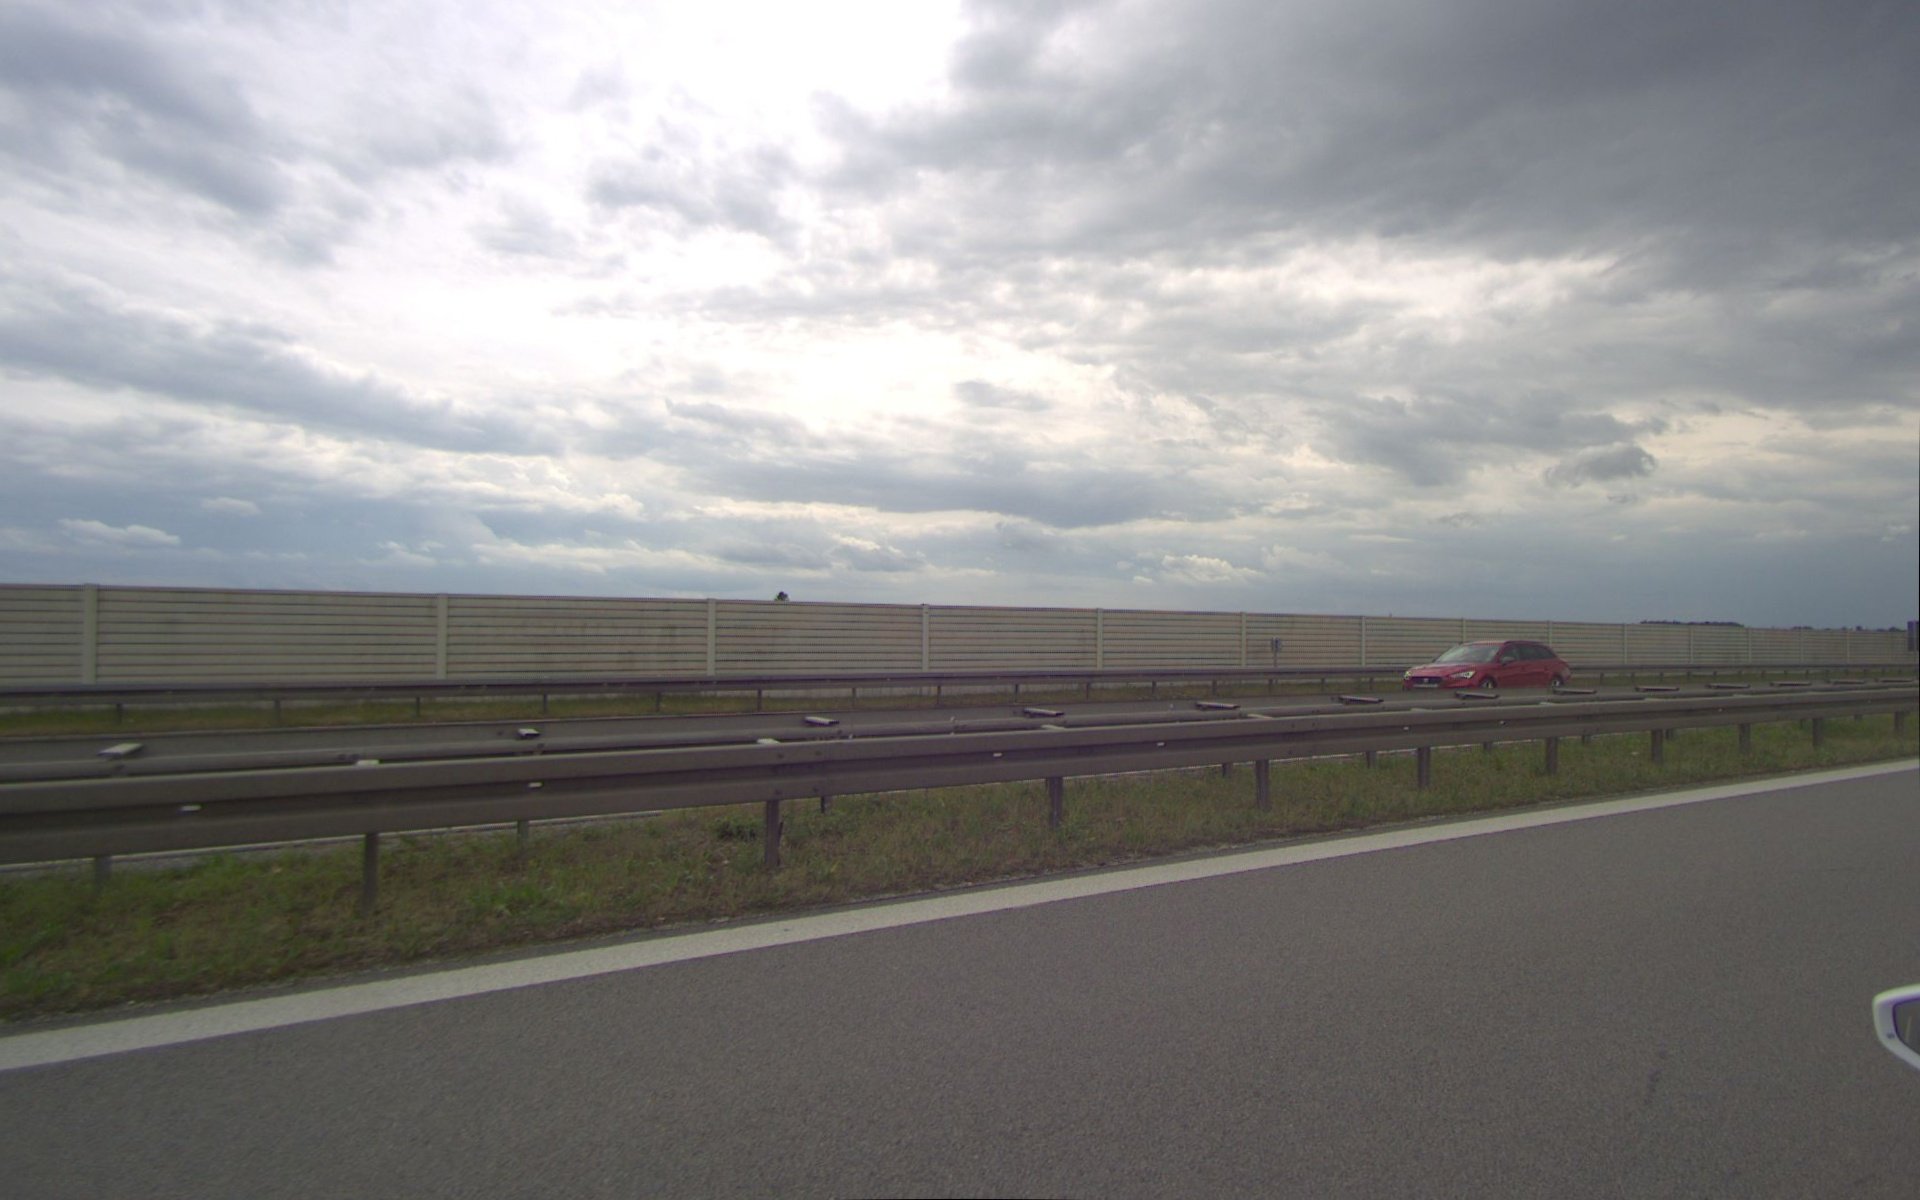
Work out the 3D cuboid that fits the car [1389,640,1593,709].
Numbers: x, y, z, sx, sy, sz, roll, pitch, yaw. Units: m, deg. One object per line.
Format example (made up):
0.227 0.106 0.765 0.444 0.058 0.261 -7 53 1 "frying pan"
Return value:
12.058 1.621 22.730 4.819 1.422 1.810 1 -2 -30 "car"
